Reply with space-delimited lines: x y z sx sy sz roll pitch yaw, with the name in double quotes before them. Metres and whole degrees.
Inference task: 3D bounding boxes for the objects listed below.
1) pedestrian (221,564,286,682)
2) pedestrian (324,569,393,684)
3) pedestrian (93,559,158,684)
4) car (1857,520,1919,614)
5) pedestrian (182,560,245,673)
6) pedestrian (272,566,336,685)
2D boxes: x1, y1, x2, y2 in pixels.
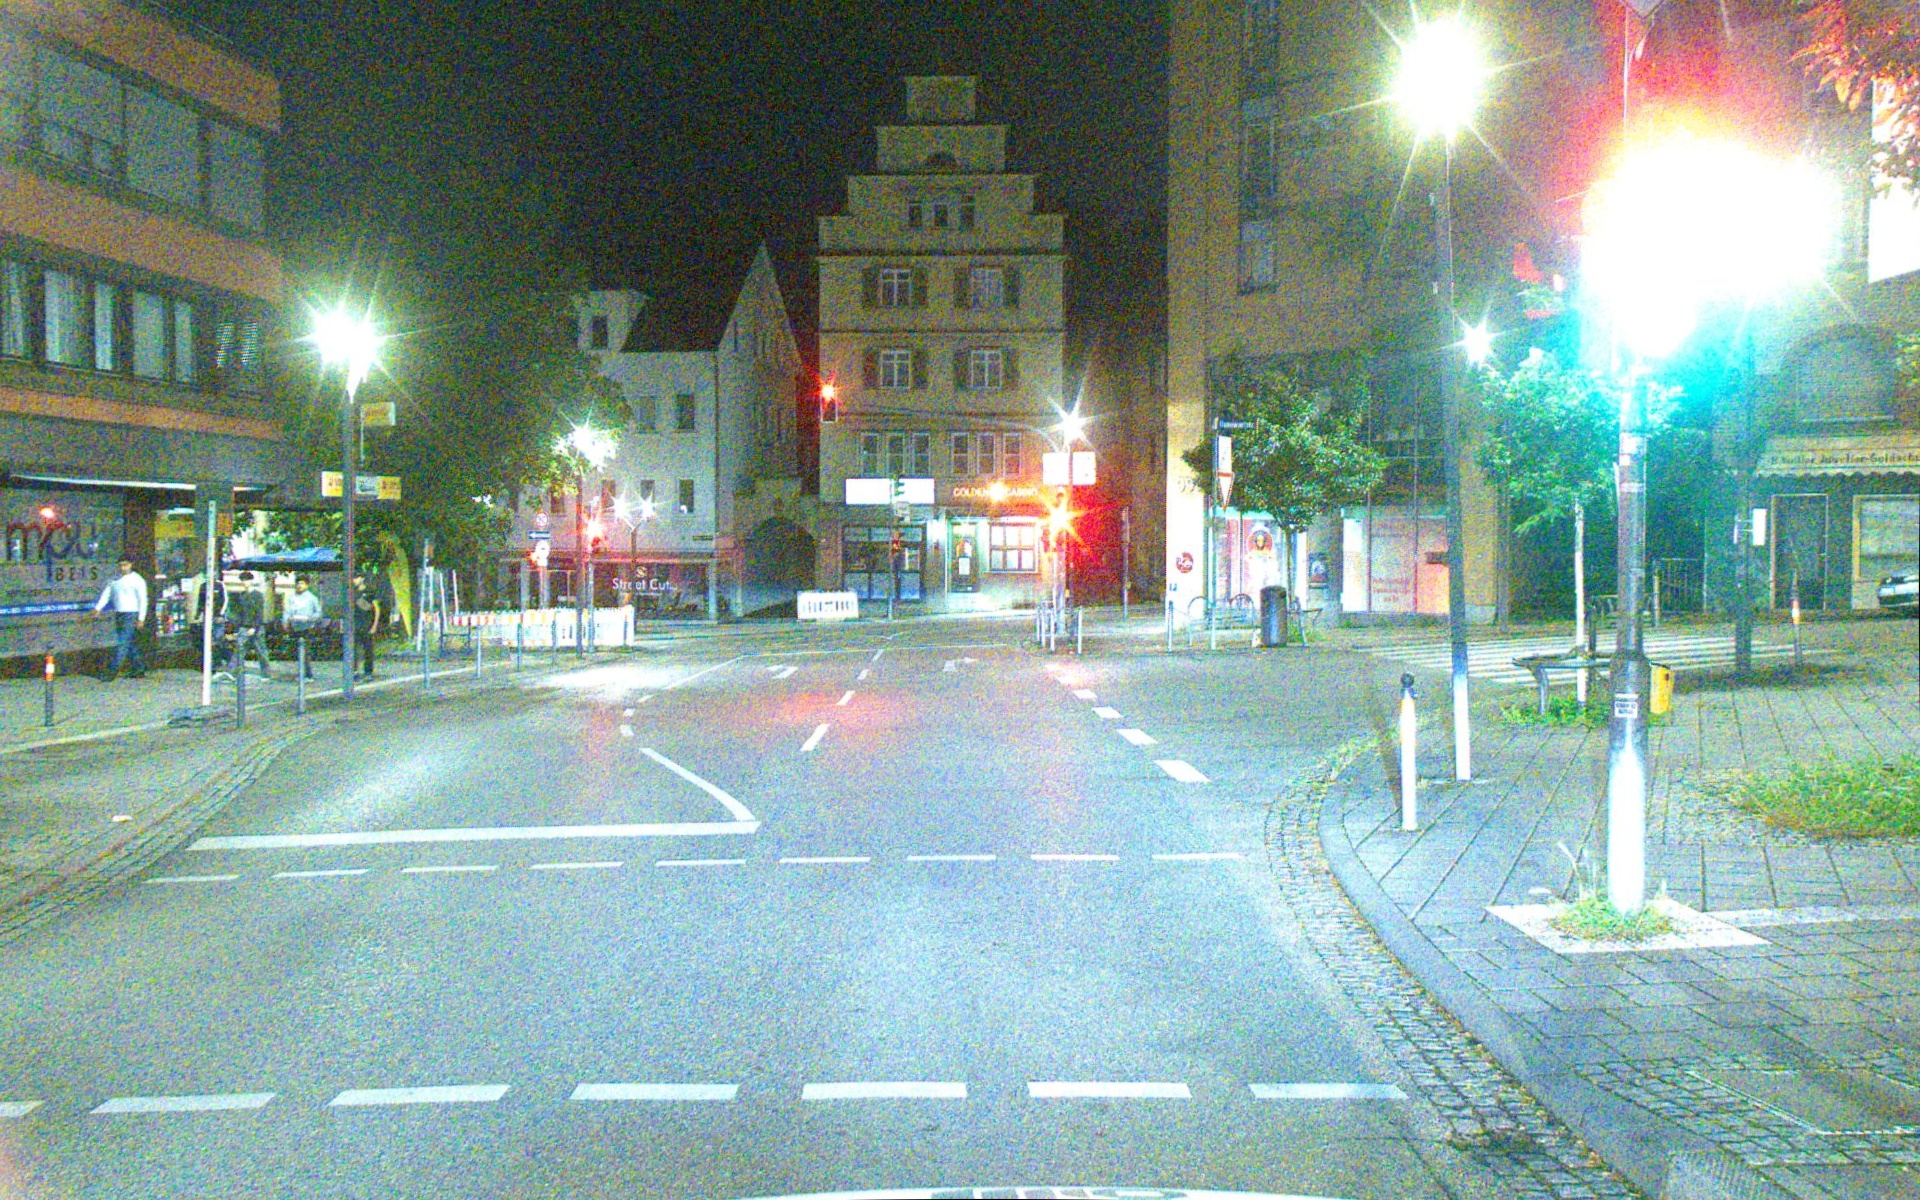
"pedestrian" -11.027 0.360 25.833 0.701 1.827 0.570 1 -2 6
"pedestrian" -9.705 0.425 26.700 0.701 1.827 0.737 0 -2 22
"pedestrian" -12.483 0.325 24.761 0.703 1.827 0.567 1 -2 -13
"car" 17.176 -0.638 27.065 3.957 1.478 1.827 -3 1 6
"pedestrian" -12.204 0.267 27.053 0.701 1.827 0.570 1 -2 6
"pedestrian" -10.221 0.404 25.767 0.701 1.827 0.570 1 -2 6
